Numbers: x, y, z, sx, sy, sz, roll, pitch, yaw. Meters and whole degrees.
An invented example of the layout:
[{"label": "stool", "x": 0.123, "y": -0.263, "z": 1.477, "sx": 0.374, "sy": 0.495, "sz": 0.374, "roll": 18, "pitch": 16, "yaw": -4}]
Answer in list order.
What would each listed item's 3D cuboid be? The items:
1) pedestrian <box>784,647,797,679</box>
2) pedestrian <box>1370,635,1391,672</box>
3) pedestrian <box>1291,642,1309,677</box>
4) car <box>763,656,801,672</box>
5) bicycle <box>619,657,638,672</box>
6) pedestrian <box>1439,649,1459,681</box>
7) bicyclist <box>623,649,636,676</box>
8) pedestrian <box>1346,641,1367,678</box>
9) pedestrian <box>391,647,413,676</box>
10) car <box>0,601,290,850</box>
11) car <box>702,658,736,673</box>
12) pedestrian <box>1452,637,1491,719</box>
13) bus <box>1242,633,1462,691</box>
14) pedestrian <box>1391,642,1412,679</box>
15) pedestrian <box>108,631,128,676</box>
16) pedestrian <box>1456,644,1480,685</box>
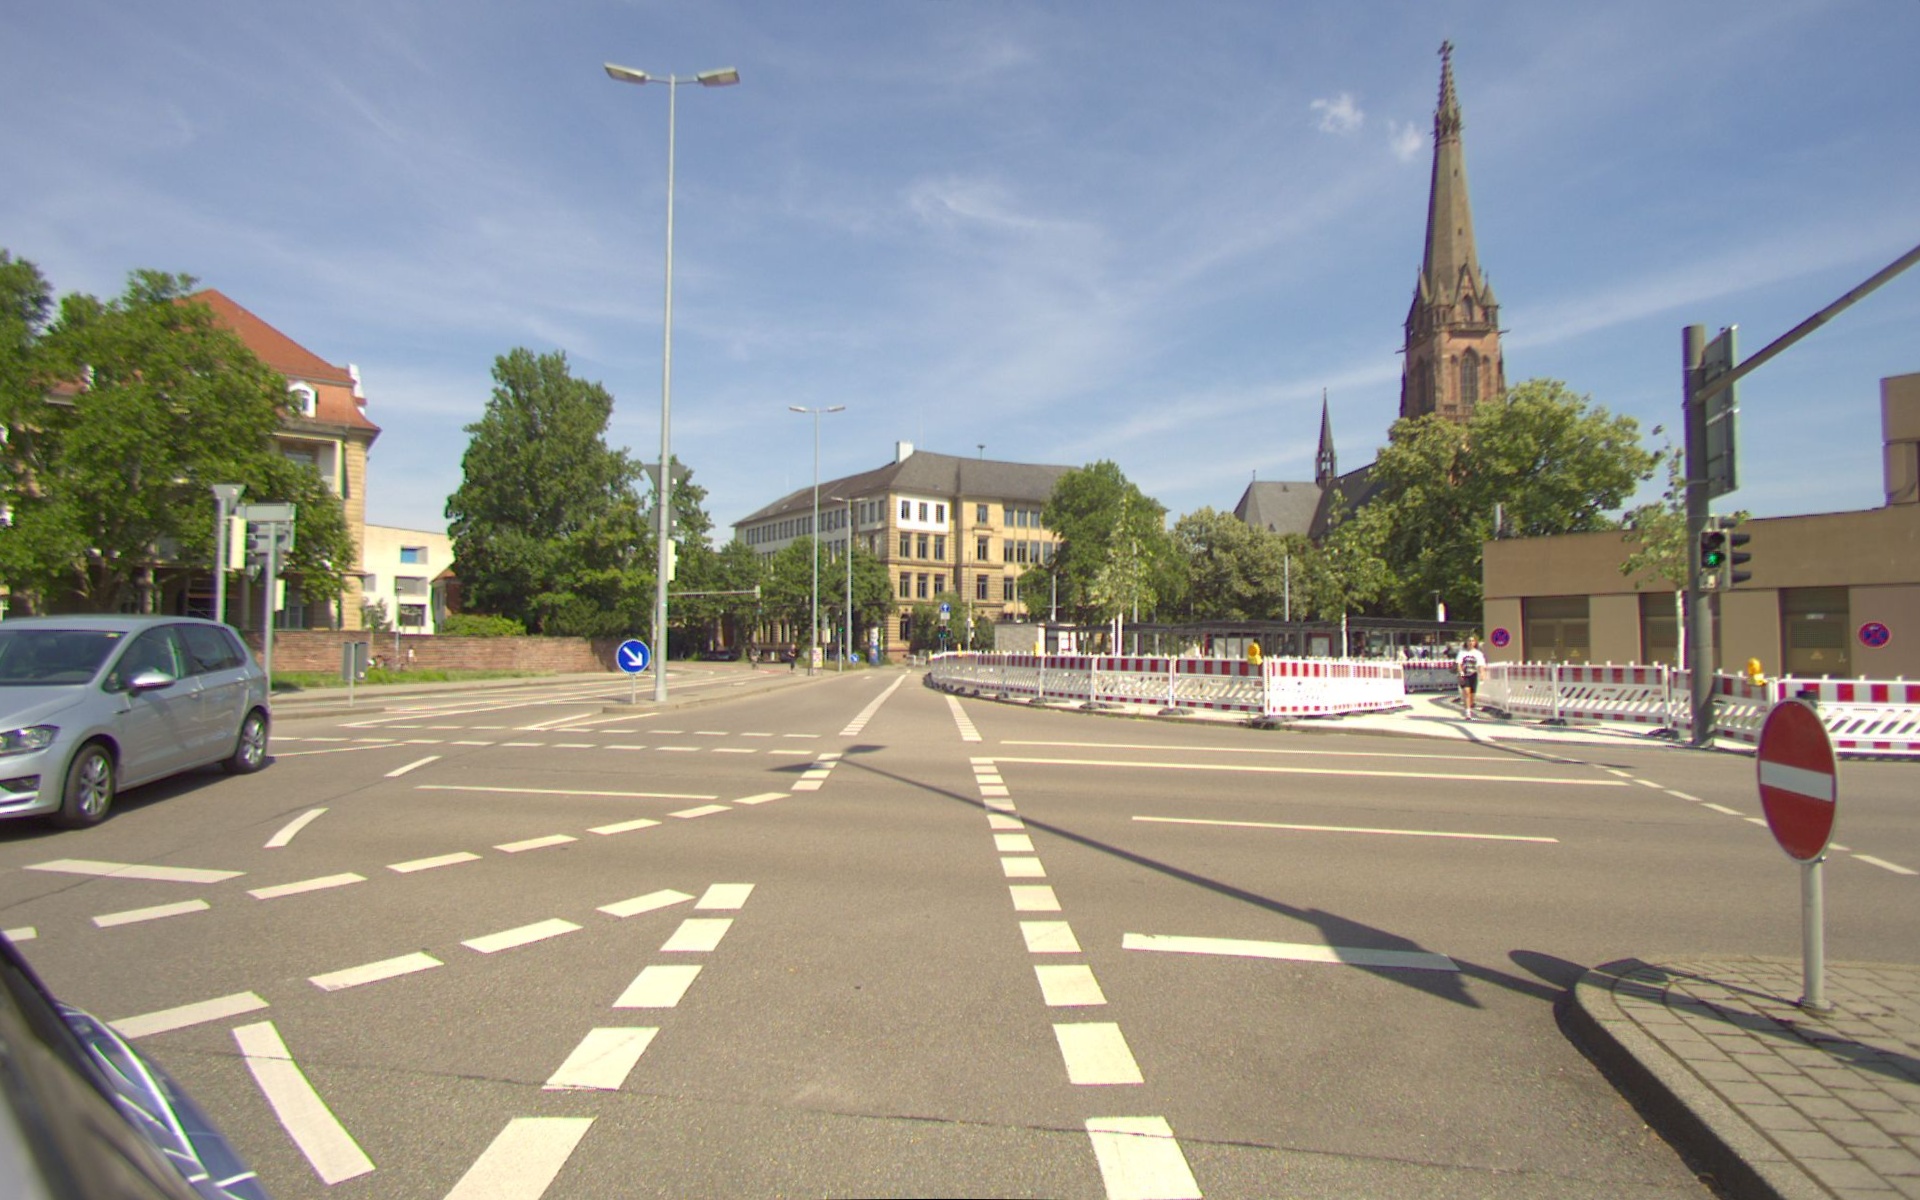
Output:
[{"label": "pedestrian", "x": -10.930, "y": 4.040, "z": 65.267, "sx": 0.782, "sy": 2.029, "sz": 0.618, "roll": 1, "pitch": -4, "yaw": -17}, {"label": "pedestrian", "x": 23.456, "y": 3.002, "z": 56.481, "sx": 0.806, "sy": 2.029, "sz": 0.688, "roll": 2, "pitch": -3, "yaw": -32}, {"label": "pedestrian", "x": 20.173, "y": 3.517, "z": 60.053, "sx": 0.807, "sy": 2.029, "sz": 0.688, "roll": 3, "pitch": -4, "yaw": -36}, {"label": "car", "x": -20.983, "y": 7.512, "z": 119.204, "sx": 3.935, "sy": 1.674, "sz": 2.004, "roll": 0, "pitch": -1, "yaw": -37}, {"label": "bicycle", "x": -20.047, "y": 3.892, "z": 61.209, "sx": 0.675, "sy": 0.894, "sz": 1.934, "roll": 1, "pitch": -3, "yaw": -4}, {"label": "pedestrian", "x": 25.661, "y": 3.390, "z": 53.107, "sx": 0.744, "sy": 1.674, "sz": 0.809, "roll": -2, "pitch": -5, "yaw": 40}, {"label": "bicyclist", "x": -20.074, "y": 3.812, "z": 61.553, "sx": 0.481, "sy": 1.649, "sz": 1.086, "roll": 1, "pitch": -3, "yaw": -5}, {"label": "pedestrian", "x": 22.229, "y": 3.346, "z": 56.757, "sx": 0.806, "sy": 2.029, "sz": 0.688, "roll": 3, "pitch": -4, "yaw": -32}, {"label": "pedestrian", "x": -29.479, "y": 3.245, "z": 53.423, "sx": 0.899, "sy": 1.560, "sz": 0.504, "roll": 3, "pitch": -4, "yaw": -39}, {"label": "car", "x": -7.401, "y": 0.844, "z": 8.381, "sx": 1.661, "sy": 1.598, "sz": 4.162, "roll": 1, "pitch": -2, "yaw": -12}, {"label": "car", "x": -32.108, "y": 8.687, "z": 134.684, "sx": 3.935, "sy": 1.674, "sz": 2.004, "roll": 0, "pitch": -1, "yaw": -38}, {"label": "pedestrian", "x": 9.945, "y": 1.511, "z": 19.681, "sx": 0.553, "sy": 1.577, "sz": 0.421, "roll": -1, "pitch": -3, "yaw": 15}, {"label": "bus", "x": 23.251, "y": 3.831, "z": 61.142, "sx": 3.083, "sy": 3.118, "sz": 12.437, "roll": 0, "pitch": -4, "yaw": -38}, {"label": "pedestrian", "x": 24.353, "y": 3.341, "z": 55.808, "sx": 0.806, "sy": 2.029, "sz": 0.688, "roll": 3, "pitch": -4, "yaw": -32}, {"label": "pedestrian", "x": -37.870, "y": 2.400, "z": 45.512, "sx": 0.587, "sy": 2.029, "sz": 0.524, "roll": 3, "pitch": -4, "yaw": -43}, {"label": "pedestrian", "x": 25.502, "y": 3.226, "z": 50.830, "sx": 0.806, "sy": 2.029, "sz": 0.689, "roll": 2, "pitch": -4, "yaw": -27}]
